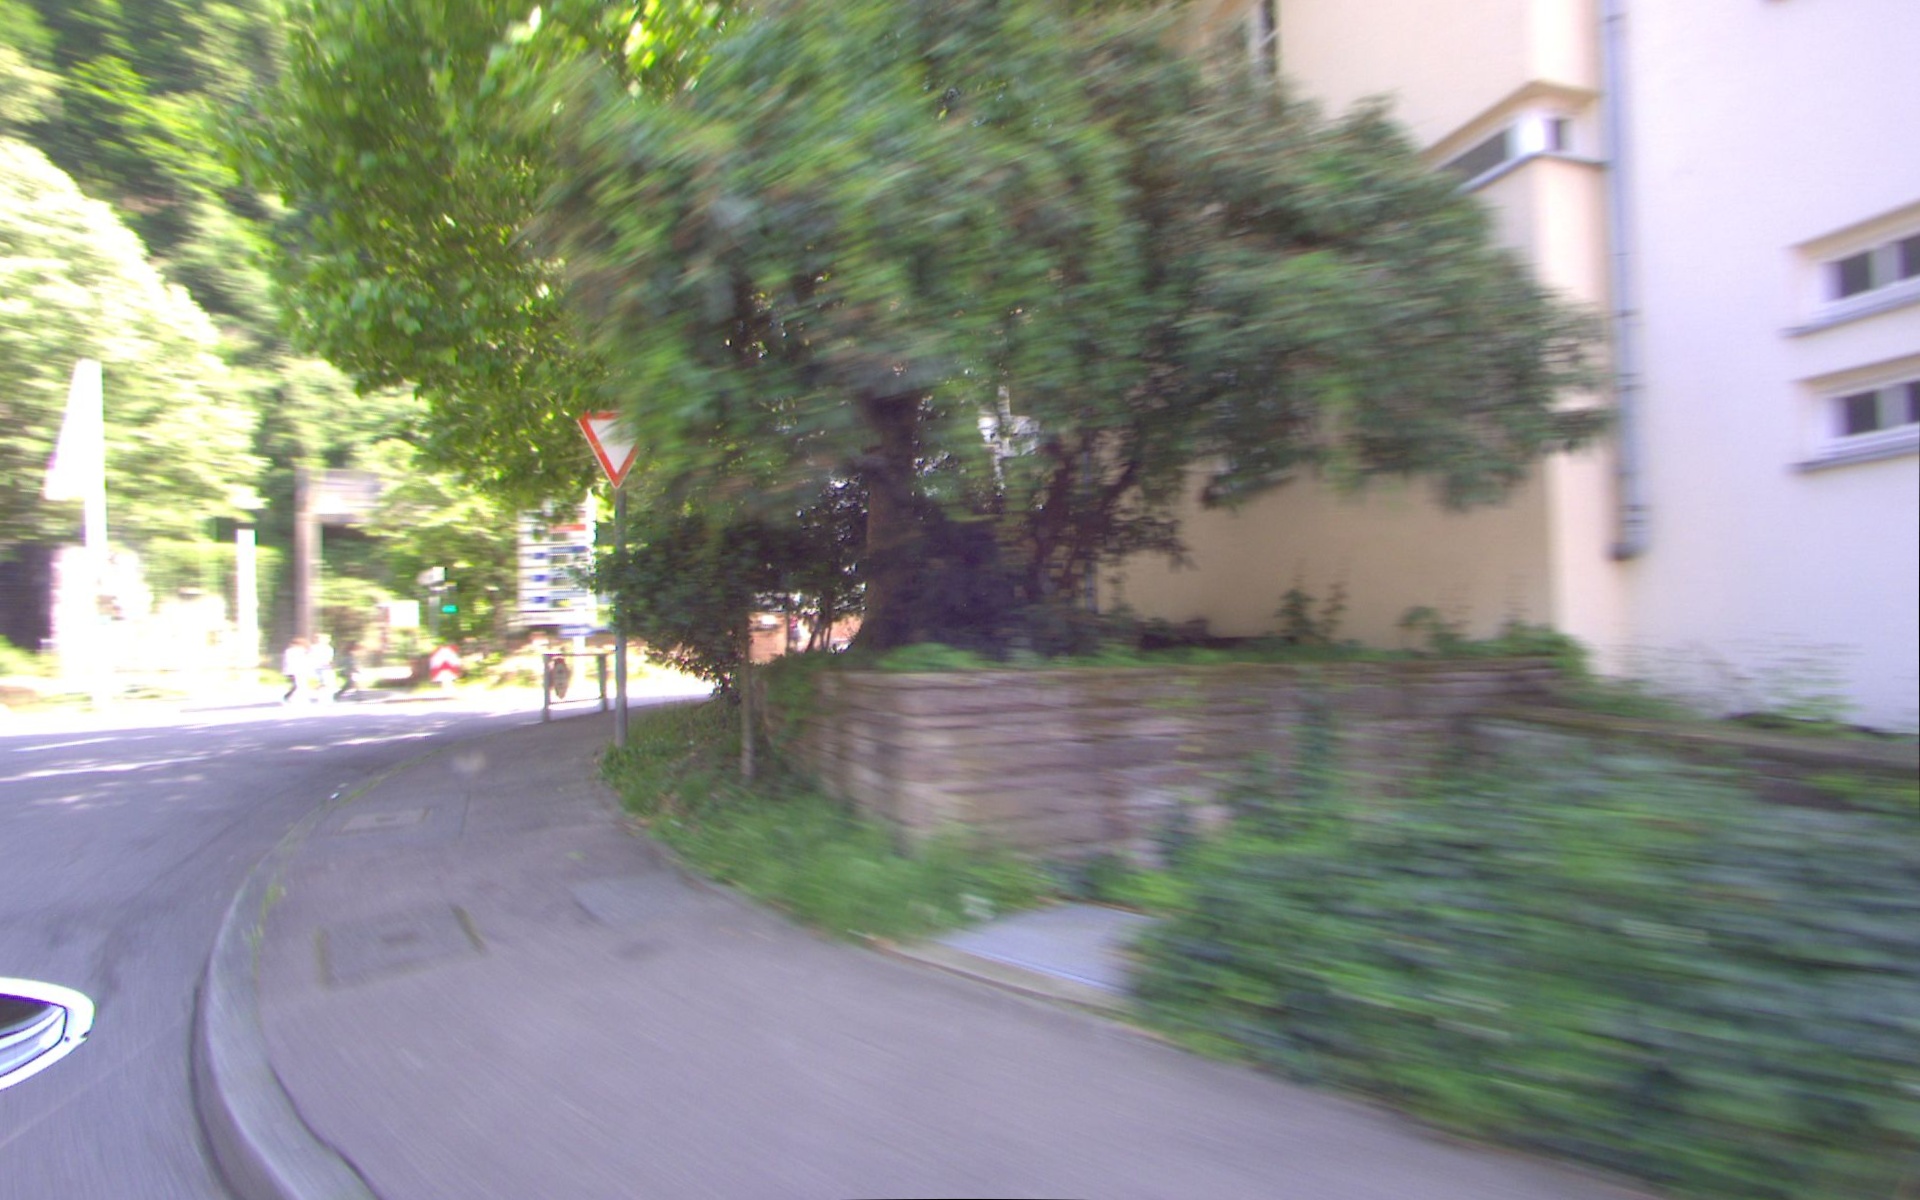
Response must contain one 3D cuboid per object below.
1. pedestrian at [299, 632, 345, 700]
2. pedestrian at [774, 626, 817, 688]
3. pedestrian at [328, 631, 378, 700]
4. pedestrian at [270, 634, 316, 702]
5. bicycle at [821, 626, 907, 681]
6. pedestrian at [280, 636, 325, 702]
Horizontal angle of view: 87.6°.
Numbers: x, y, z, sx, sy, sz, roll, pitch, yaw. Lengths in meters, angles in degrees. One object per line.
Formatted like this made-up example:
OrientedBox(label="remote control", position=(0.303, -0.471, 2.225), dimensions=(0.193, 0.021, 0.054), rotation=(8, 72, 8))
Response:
OrientedBox(label="pedestrian", position=(-16.911, 1.751, 26.549), dimensions=(0.748, 1.777, 0.765), rotation=(0, -4, -12))
OrientedBox(label="pedestrian", position=(-5.188, 1.792, 31.684), dimensions=(1.054, 1.919, 0.958), rotation=(0, -1, 12))
OrientedBox(label="pedestrian", position=(-16.061, 1.738, 26.509), dimensions=(0.851, 1.777, 0.802), rotation=(0, -4, -12))
OrientedBox(label="pedestrian", position=(-17.741, 1.813, 26.654), dimensions=(0.748, 1.777, 0.765), rotation=(0, -4, -12))
OrientedBox(label="bicycle", position=(-3.541, 2.006, 36.859), dimensions=(2.953, 1.908, 1.167), rotation=(2, -6, -25))
OrientedBox(label="pedestrian", position=(-17.977, 1.894, 27.412), dimensions=(0.748, 1.777, 0.765), rotation=(0, -4, -12))
